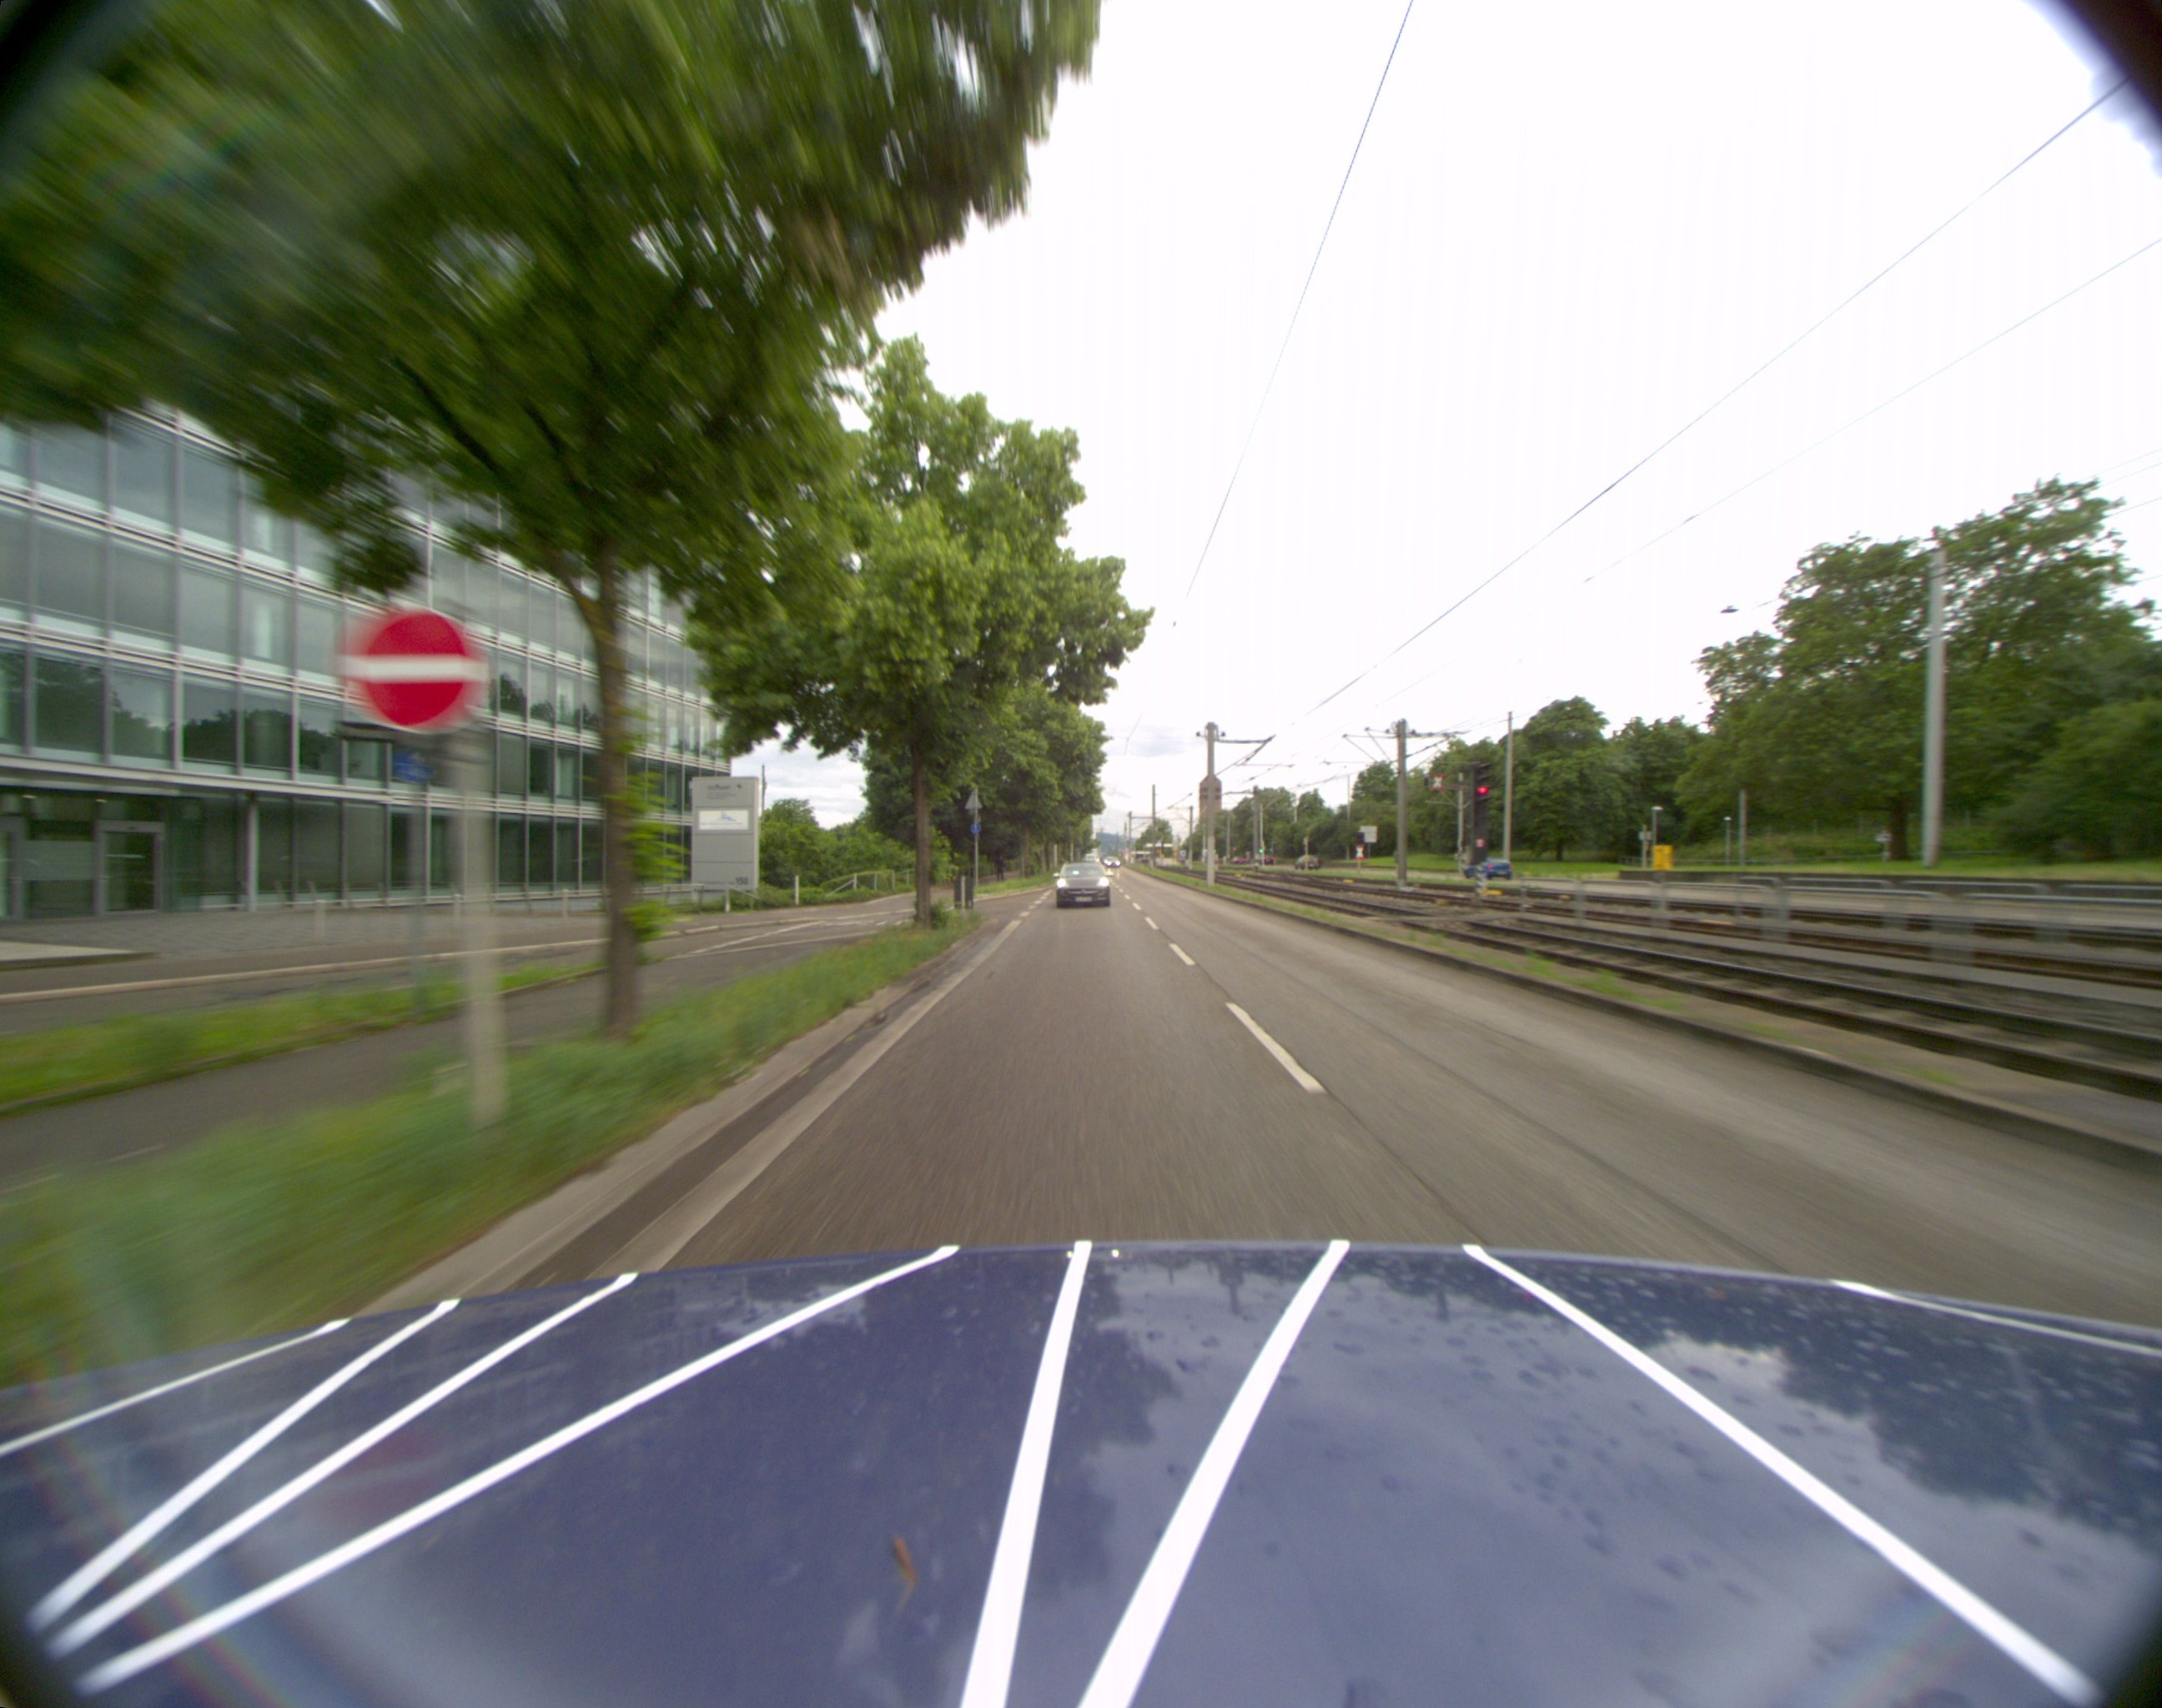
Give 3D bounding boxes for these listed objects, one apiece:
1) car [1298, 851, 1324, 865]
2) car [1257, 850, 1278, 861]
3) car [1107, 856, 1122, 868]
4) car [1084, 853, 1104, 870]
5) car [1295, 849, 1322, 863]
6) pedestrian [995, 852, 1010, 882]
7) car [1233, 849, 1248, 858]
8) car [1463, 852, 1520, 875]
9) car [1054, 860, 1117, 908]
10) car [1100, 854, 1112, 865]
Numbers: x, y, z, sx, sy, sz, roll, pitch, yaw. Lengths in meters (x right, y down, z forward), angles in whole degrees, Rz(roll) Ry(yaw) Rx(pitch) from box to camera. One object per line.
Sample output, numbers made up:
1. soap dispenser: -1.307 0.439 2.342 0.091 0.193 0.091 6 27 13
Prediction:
1. car: 27.808 0.496 91.968 1.952 1.586 4.848 0 0 4
2. car: 28.510 0.185 116.194 2.094 1.580 5.159 0 0 3
3. car: 4.408 1.065 101.170 1.899 1.432 4.246 -1 0 1
4. car: 1.344 0.749 78.227 1.998 1.608 4.000 -1 0 1
5. car: 24.507 0.227 82.107 1.895 1.478 4.309 0 0 4
6. pedestrian: -4.936 0.813 47.758 0.828 1.787 0.867 -1 1 2
7. car: 28.766 -0.097 137.194 1.931 1.438 4.682 0 0 1
8. car: 26.009 0.585 48.285 1.765 1.389 3.901 0 0 4
9. car: 0.179 0.923 25.426 1.899 1.432 4.474 -1 0 1
10. car: 3.879 0.888 119.754 1.812 1.566 3.971 -1 1 1
